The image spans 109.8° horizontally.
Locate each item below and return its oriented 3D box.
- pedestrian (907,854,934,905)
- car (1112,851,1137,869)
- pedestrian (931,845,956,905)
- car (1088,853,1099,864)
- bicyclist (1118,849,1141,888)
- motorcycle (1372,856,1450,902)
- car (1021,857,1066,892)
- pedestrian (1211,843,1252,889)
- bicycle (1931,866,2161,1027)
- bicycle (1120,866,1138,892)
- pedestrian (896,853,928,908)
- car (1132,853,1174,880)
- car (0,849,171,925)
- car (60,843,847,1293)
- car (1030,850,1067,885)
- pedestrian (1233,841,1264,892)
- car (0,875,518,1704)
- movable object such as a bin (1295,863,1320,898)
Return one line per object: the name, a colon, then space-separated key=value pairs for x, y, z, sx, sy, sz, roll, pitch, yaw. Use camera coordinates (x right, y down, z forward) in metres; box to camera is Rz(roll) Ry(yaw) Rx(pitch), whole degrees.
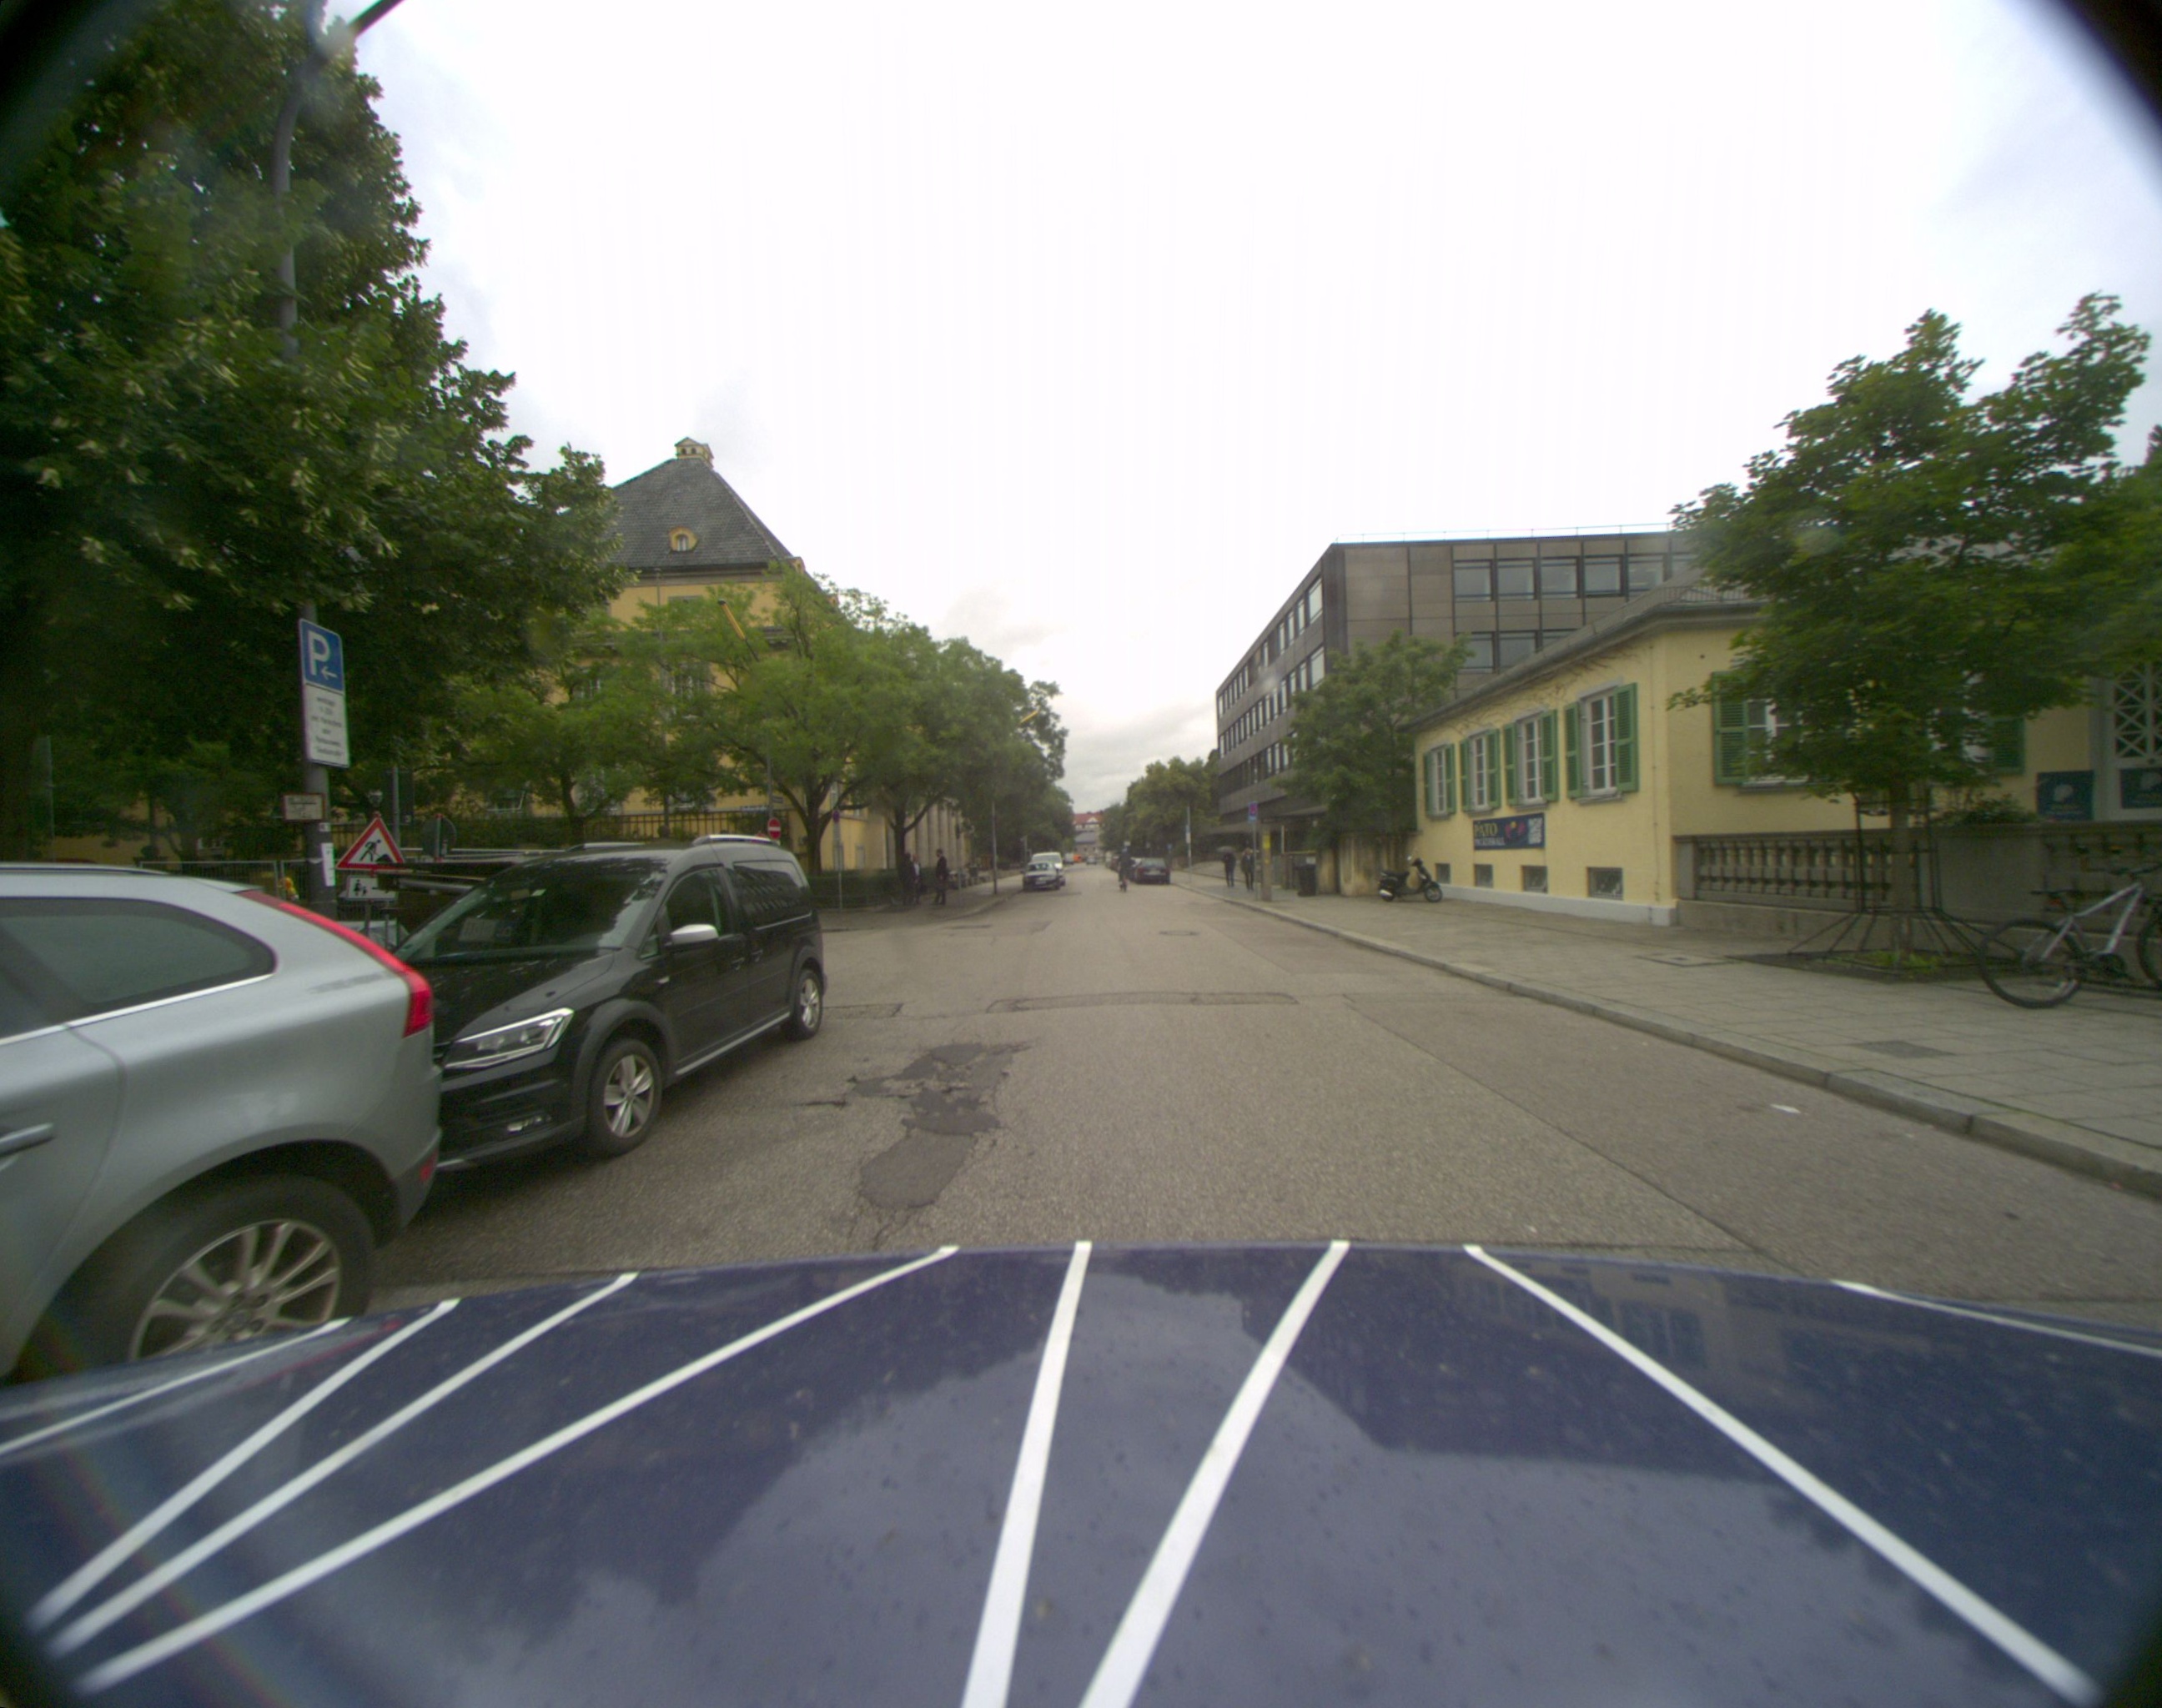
pedestrian: x=-5.701 y=0.882 z=26.937 sx=0.701 sy=1.749 sz=0.684 roll=-3 pitch=1 yaw=-29
car: x=3.812 y=0.500 z=66.891 sx=1.998 sy=1.555 sz=4.000 roll=-1 pitch=0 yaw=0
pedestrian: x=-4.754 y=0.713 z=26.288 sx=0.690 sy=2.002 sz=0.894 roll=-3 pitch=1 yaw=-14
car: x=2.517 y=0.899 z=154.886 sx=1.999 sy=2.002 sz=3.999 roll=-3 pitch=1 yaw=-1
bicyclist: x=2.033 y=0.582 z=31.905 sx=0.903 sy=1.602 sz=1.067 roll=0 pitch=1 yaw=0
motorcycle: x=8.523 y=0.653 z=19.656 sx=1.664 sy=1.106 sz=0.591 roll=-4 pitch=2 yaw=45
car: x=-1.811 y=0.984 z=38.077 sx=1.958 sy=1.494 sz=4.486 roll=-3 pitch=0 yaw=0
pedestrian: x=6.840 y=0.528 z=34.703 sx=1.479 sy=2.002 sz=1.501 roll=-3 pitch=1 yaw=0
bicycle: x=7.854 y=0.690 z=5.875 sx=1.847 sy=1.028 sz=0.466 roll=-6 pitch=0 yaw=4
bicycle: x=2.018 y=1.034 z=32.123 sx=0.607 sy=1.014 sz=2.308 roll=0 pitch=0 yaw=0
pedestrian: x=-5.738 y=0.883 z=25.711 sx=0.691 sy=1.775 sz=0.893 roll=-3 pitch=1 yaw=-34
car: x=3.937 y=0.665 z=42.150 sx=1.929 sy=1.390 sz=4.486 roll=-1 pitch=0 yaw=0
car: x=-31.395 y=1.015 z=23.007 sx=5.659 sy=2.052 sz=2.001 roll=-3 pitch=1 yaw=6
car: x=-3.284 y=0.890 z=5.345 sx=1.814 sy=1.797 sz=4.347 roll=-3 pitch=0 yaw=0
car: x=-1.822 y=0.745 z=44.148 sx=1.830 sy=1.884 sz=4.486 roll=-3 pitch=0 yaw=0
pedestrian: x=6.821 y=0.517 z=31.031 sx=0.977 sy=2.002 sz=0.914 roll=-3 pitch=1 yaw=0
car: x=-3.280 y=0.980 z=0.585 sx=1.872 sy=1.681 sz=4.785 roll=-3 pitch=0 yaw=3
movable object such as a bin: x=7.346 y=0.860 z=24.647 sx=0.615 sy=1.102 sz=0.460 roll=-3 pitch=1 yaw=0
